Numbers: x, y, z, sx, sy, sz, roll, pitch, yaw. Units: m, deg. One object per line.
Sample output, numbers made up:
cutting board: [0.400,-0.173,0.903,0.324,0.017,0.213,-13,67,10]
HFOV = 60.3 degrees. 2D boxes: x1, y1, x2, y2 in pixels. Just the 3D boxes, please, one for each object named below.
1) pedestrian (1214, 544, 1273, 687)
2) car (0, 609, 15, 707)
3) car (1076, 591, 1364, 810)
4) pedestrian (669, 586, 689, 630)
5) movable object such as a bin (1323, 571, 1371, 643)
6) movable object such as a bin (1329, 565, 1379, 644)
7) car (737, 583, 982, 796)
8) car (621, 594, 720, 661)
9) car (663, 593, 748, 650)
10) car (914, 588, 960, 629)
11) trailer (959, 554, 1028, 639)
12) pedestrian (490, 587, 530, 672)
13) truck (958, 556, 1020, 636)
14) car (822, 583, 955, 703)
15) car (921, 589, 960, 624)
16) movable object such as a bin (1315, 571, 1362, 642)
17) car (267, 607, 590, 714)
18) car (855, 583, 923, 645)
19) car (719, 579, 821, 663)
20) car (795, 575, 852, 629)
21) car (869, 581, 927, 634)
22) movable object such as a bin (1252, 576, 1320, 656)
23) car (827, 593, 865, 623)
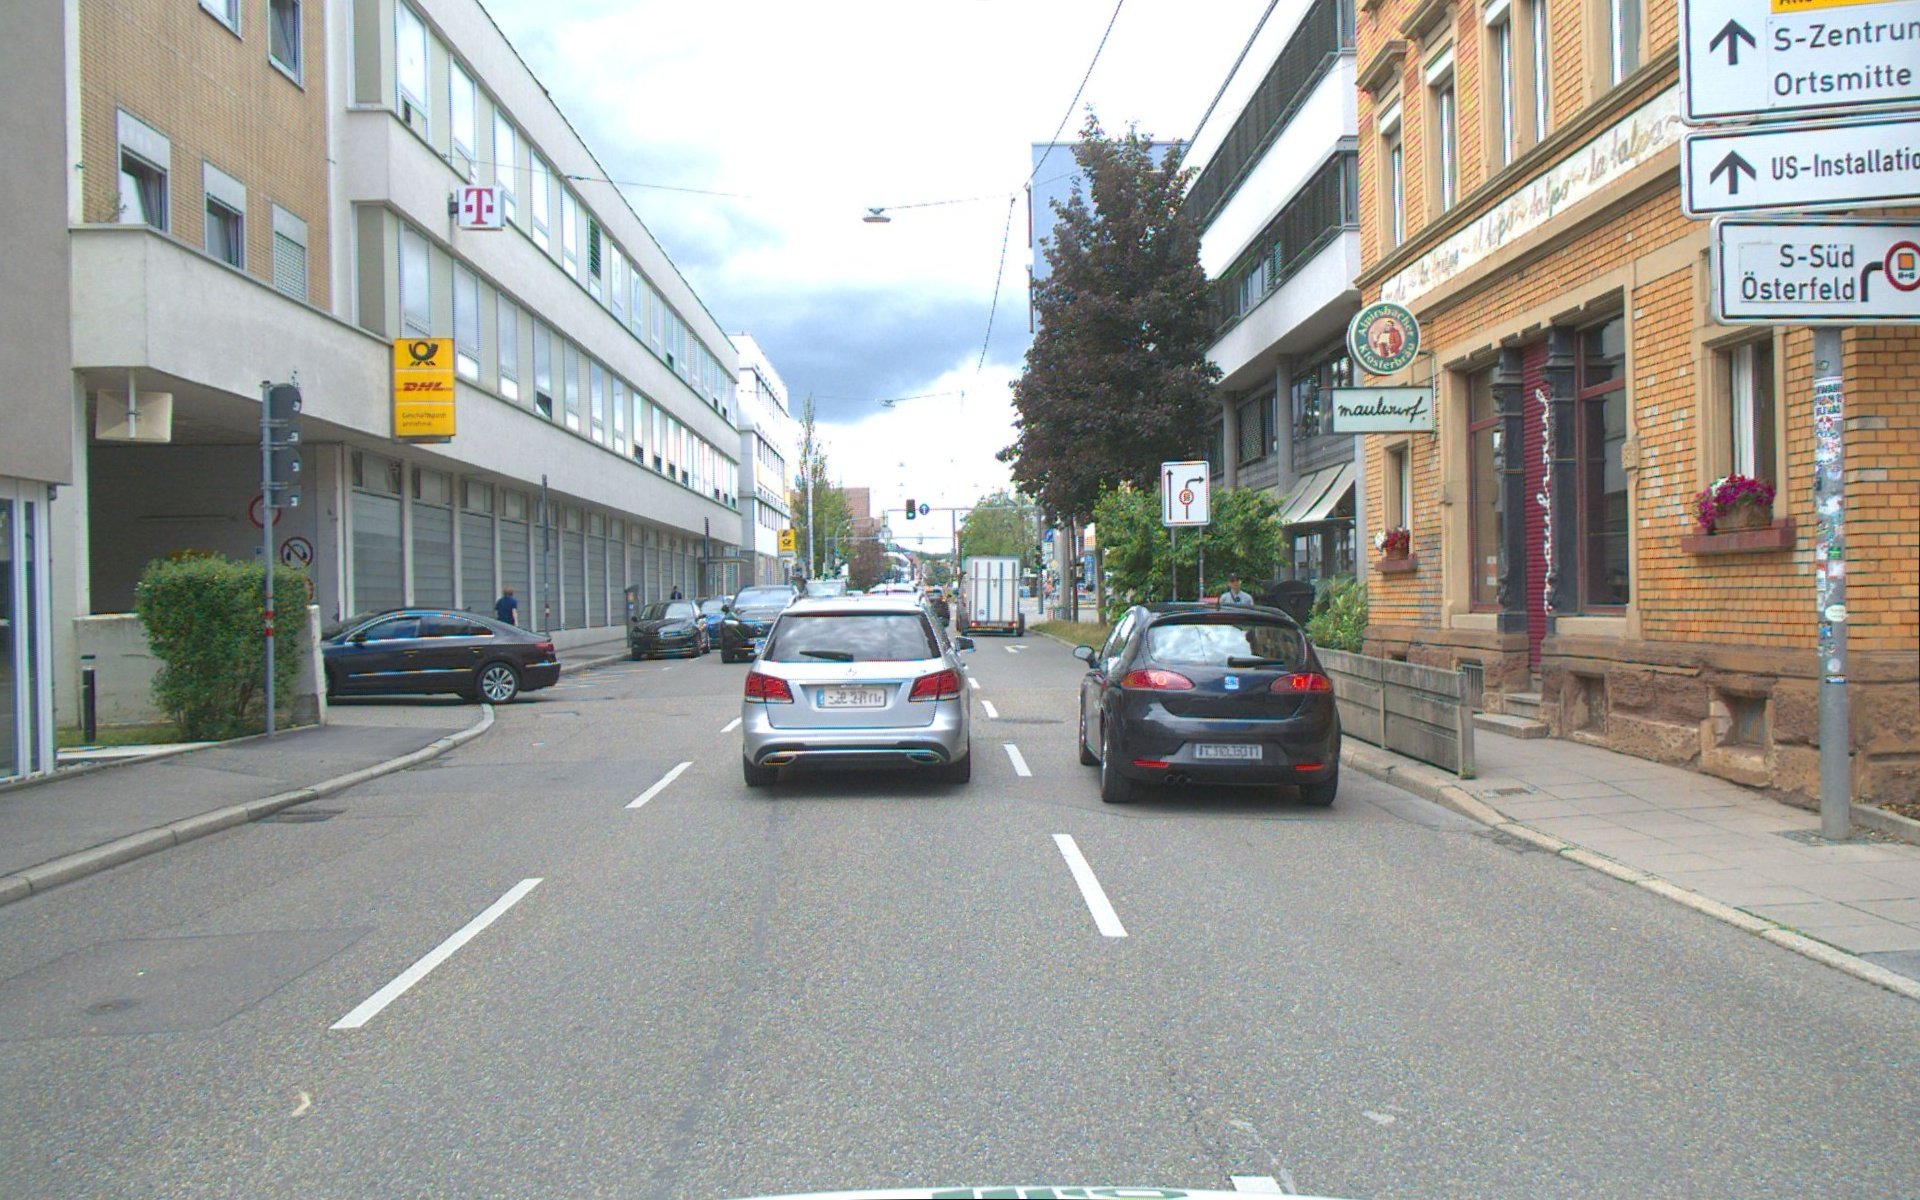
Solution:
pedestrian: [4.125,0.218,24.099,0.679,2.049,0.676,-1,0,-3]
car: [-15.450,0.878,23.696,1.718,1.482,3.690,1,0,-1]
car: [1.907,0.673,13.192,1.729,1.458,3.829,-1,0,1]
pedestrian: [-10.714,0.300,63.096,0.642,1.651,0.681,-1,0,0]
movable object such as a bin: [8.449,0.154,36.147,0.804,1.516,0.732,-3,-1,0]
movable object such as a bin: [8.435,0.095,35.392,0.804,1.617,0.732,-3,-1,0]
car: [-0.791,0.638,13.933,1.767,1.519,3.736,-1,0,-2]
car: [-7.367,0.664,42.469,1.874,1.543,4.173,-2,0,-2]
car: [-7.381,0.584,48.385,1.953,1.543,4.173,-1,0,-2]
car: [-0.940,0.321,66.414,1.767,1.629,3.736,0,0,-2]
trailer: [1.059,-0.126,54.465,1.953,2.653,5.347,-1,0,-2]
pedestrian: [-9.643,0.617,35.472,0.630,1.800,0.809,-1,0,-2]
truck: [0.973,-0.153,57.247,1.953,2.653,3.259,-1,0,-2]
car: [-1.029,0.568,24.203,1.767,1.580,3.736,-1,0,-2]
car: [-0.946,0.288,79.319,1.767,1.629,3.736,0,0,-2]
movable object such as a bin: [8.438,0.145,36.905,0.804,1.530,0.732,-3,-1,0]
car: [-7.952,0.847,24.855,4.354,1.389,1.767,-1,0,-31]
car: [-1.916,0.352,45.250,1.767,1.629,3.736,0,0,-2]
car: [-4.391,0.452,38.842,1.953,1.769,4.552,-2,0,-2]
car: [-5.477,0.058,66.810,1.953,2.049,4.900,-2,0,-2]
car: [-1.974,0.213,52.993,1.767,1.629,3.736,0,0,-2]
movable object such as a bin: [6.432,0.307,32.708,0.924,1.496,1.444,-3,0,-4]
car: [-5.867,0.372,85.539,1.733,1.438,4.173,-2,0,-2]
